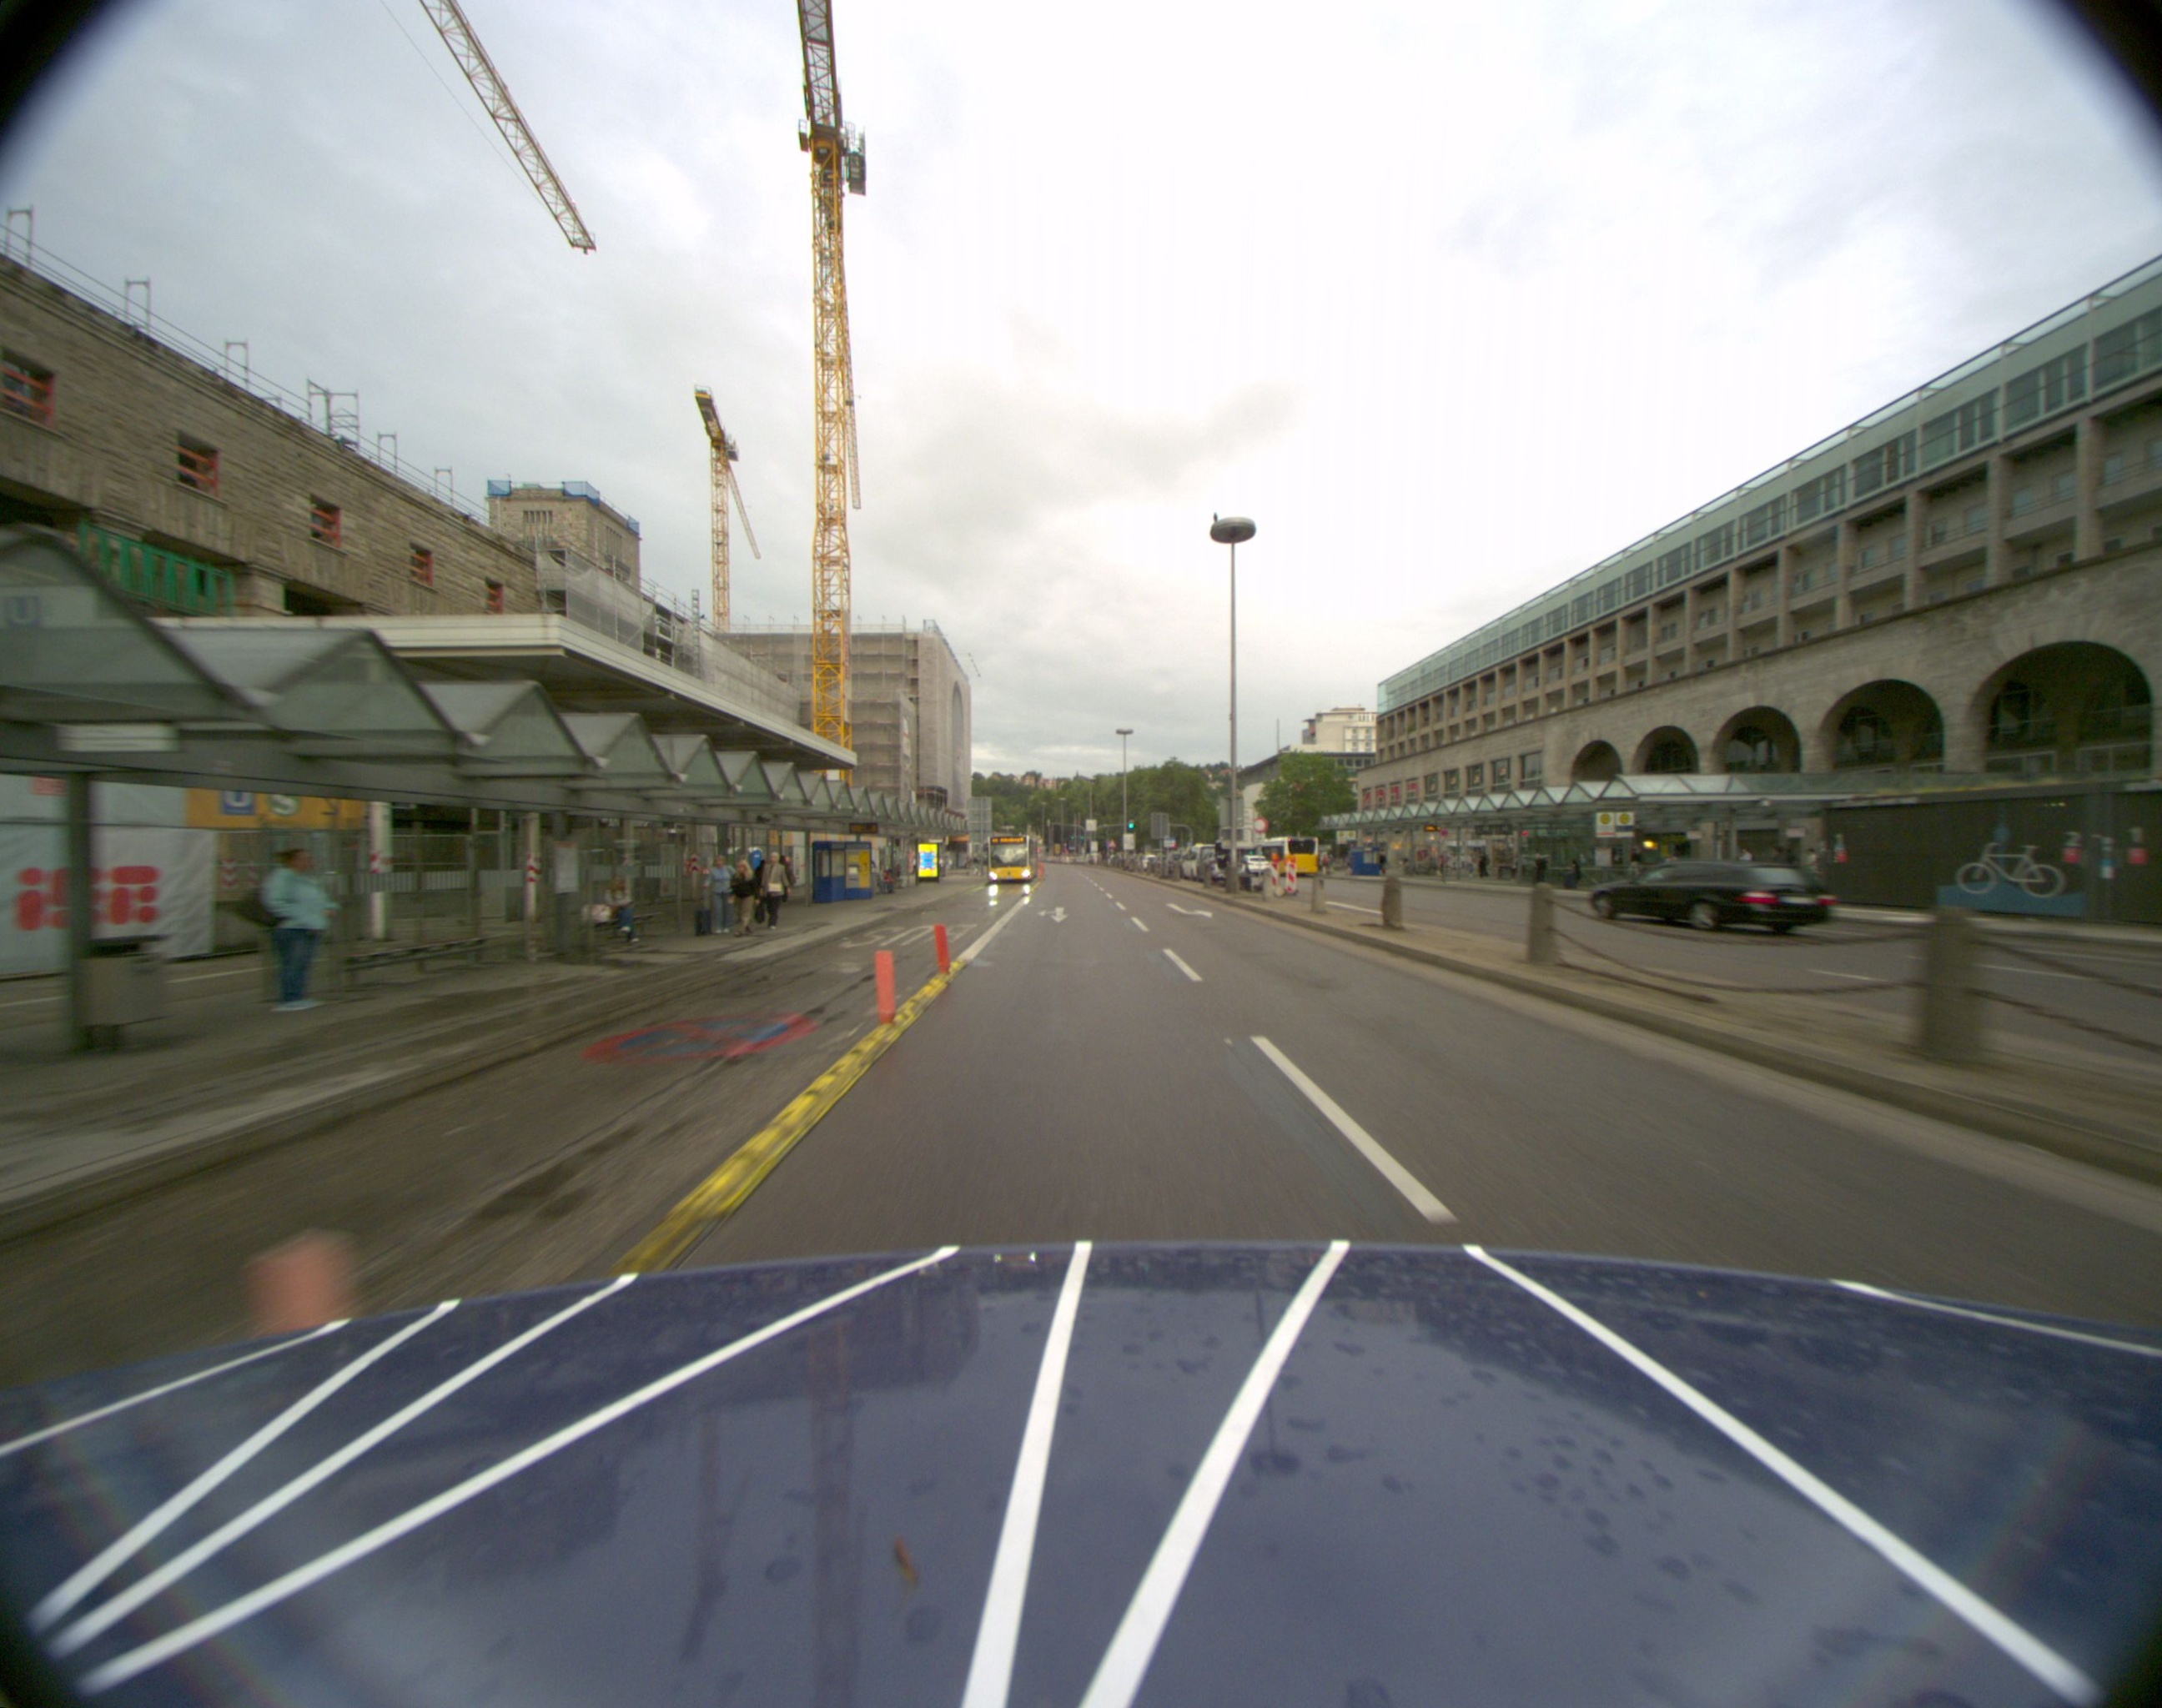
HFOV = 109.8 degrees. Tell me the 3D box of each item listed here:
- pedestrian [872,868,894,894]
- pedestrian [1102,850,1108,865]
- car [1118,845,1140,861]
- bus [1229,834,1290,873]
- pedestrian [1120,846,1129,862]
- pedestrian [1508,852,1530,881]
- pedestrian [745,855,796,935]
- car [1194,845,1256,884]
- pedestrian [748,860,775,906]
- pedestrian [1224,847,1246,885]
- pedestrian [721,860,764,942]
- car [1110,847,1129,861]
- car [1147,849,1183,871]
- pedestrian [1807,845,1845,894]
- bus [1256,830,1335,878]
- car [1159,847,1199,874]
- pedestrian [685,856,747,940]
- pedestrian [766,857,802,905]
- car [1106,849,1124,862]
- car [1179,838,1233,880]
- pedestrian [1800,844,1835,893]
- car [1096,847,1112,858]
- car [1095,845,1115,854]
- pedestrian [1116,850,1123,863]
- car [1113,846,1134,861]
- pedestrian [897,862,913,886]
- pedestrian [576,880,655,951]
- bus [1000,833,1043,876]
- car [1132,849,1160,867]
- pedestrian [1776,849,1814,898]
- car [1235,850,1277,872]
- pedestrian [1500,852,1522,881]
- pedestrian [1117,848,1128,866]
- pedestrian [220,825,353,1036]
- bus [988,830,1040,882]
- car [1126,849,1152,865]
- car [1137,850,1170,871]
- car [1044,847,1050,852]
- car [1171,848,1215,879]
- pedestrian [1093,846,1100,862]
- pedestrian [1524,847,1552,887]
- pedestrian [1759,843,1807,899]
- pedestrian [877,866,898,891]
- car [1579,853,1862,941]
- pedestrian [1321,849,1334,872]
[{"bbox_3d":[-8.345,1.150,32.074,0.729,1.059,0.709,0,1,-1],"label":"pedestrian"},{"bbox_3d":[2.971,0.424,93.587,0.700,1.744,0.711,-1,1,-2],"label":"pedestrian"},{"bbox_3d":[5.324,-0.153,85.001,1.935,1.681,4.680,1,1,-3],"label":"car"},{"bbox_3d":[16.377,-0.045,70.511,2.885,3.357,10.571,0,0,-2],"label":"bus"},{"bbox_3d":[4.480,0.013,77.901,0.725,1.597,0.996,-2,0,-2],"label":"pedestrian"},{"bbox_3d":[25.431,0.722,44.124,0.758,1.645,0.894,-2,0,0],"label":"pedestrian"},{"bbox_3d":[-6.721,0.866,16.485,0.764,1.683,0.822,0,1,-1],"label":"pedestrian"},{"bbox_3d":[6.767,0.450,36.150,1.999,1.712,4.781,0,0,0],"label":"car"},{"bbox_3d":[-11.137,1.001,26.489,0.709,1.598,0.729,0,1,-8],"label":"pedestrian"},{"bbox_3d":[6.763,0.522,33.390,0.762,1.643,0.763,0,1,-1],"label":"pedestrian"},{"bbox_3d":[-6.675,0.910,14.993,0.522,1.557,0.728,0,1,-1],"label":"pedestrian"},{"bbox_3d":[4.769,-0.037,95.240,1.935,1.681,4.680,1,1,-3],"label":"car"},{"bbox_3d":[6.416,0.442,58.699,1.935,1.567,5.050,1,1,-3],"label":"car"},{"bbox_3d":[31.395,0.640,32.035,0.805,2.029,0.771,0,1,1],"label":"pedestrian"},{"bbox_3d":[16.647,-0.009,59.900,2.885,3.439,10.571,-1,0,-2],"label":"bus"},{"bbox_3d":[6.707,0.416,52.419,1.935,1.689,4.883,1,1,-2],"label":"car"},{"bbox_3d":[-7.419,0.876,15.481,0.810,1.650,0.804,-2,1,-1],"label":"pedestrian"},{"bbox_3d":[-10.254,0.916,26.252,0.908,1.598,0.745,-2,0,0],"label":"pedestrian"},{"bbox_3d":[4.542,0.167,101.099,2.020,1.611,4.841,-1,0,-2],"label":"car"},{"bbox_3d":[6.846,0.270,42.036,1.999,2.166,5.543,0,0,-1],"label":"car"},{"bbox_3d":[32.223,0.644,33.258,0.770,2.114,0.806,0,1,7],"label":"pedestrian"},{"bbox_3d":[3.629,-0.166,120.799,1.908,1.689,4.498,-2,0,-5],"label":"car"},{"bbox_3d":[6.045,-1.173,188.485,4.831,2.002,2.036,-2,0,0],"label":"car"},{"bbox_3d":[5.192,0.326,102.423,0.785,1.765,0.606,2,1,-14],"label":"pedestrian"},{"bbox_3d":[5.005,-0.063,90.046,1.935,1.681,4.680,1,1,-3],"label":"car"},{"bbox_3d":[-8.859,0.982,38.281,0.666,1.180,0.666,0,1,-1],"label":"pedestrian"},{"bbox_3d":[-8.637,1.125,14.130,0.915,1.223,0.840,-2,0,-1],"label":"pedestrian"},{"bbox_3d":[-4.508,-0.019,59.185,2.762,3.051,9.077,-2,1,-1],"label":"bus"},{"bbox_3d":[6.015,0.309,70.628,1.935,1.567,5.010,1,1,-3],"label":"car"},{"bbox_3d":[31.253,0.824,33.272,0.770,2.114,0.979,0,1,7],"label":"pedestrian"},{"bbox_3d":[13.305,0.535,58.065,1.967,1.555,4.834,2,0,-2],"label":"car"},{"bbox_3d":[25.478,0.723,45.025,0.758,1.645,0.894,-2,0,0],"label":"pedestrian"},{"bbox_3d":[4.232,0.288,76.868,1.053,1.758,0.616,-1,1,-3],"label":"pedestrian"},{"bbox_3d":[-8.246,0.734,7.938,0.806,2.038,0.924,-2,1,-41],"label":"pedestrian"},{"bbox_3d":[-4.271,0.059,50.132,2.762,3.048,8.990,-2,1,-1],"label":"bus"},{"bbox_3d":[5.832,0.255,76.889,1.935,1.567,5.259,1,1,-3],"label":"car"},{"bbox_3d":[6.104,0.507,64.481,1.982,1.650,5.190,1,1,-3],"label":"car"},{"bbox_3d":[-10.212,-1.449,229.454,1.683,1.533,3.173,0,-1,-2],"label":"car"},{"bbox_3d":[6.914,0.524,47.225,1.935,1.796,4.581,1,1,-1],"label":"car"},{"bbox_3d":[1.969,0.017,94.916,0.725,1.996,0.772,-2,1,-2],"label":"pedestrian"},{"bbox_3d":[22.910,0.649,38.097,0.844,2.002,0.960,0,1,-1],"label":"pedestrian"},{"bbox_3d":[23.728,0.559,25.691,0.721,1.845,0.930,-2,0,-1],"label":"pedestrian"},{"bbox_3d":[-8.365,1.060,32.845,0.729,1.059,0.808,0,1,-1],"label":"pedestrian"},{"bbox_3d":[13.571,0.793,16.684,1.999,1.607,4.977,0,1,0],"label":"car"},{"bbox_3d":[18.530,0.468,57.215,0.625,1.715,0.856,-2,0,-1],"label":"pedestrian"}]
